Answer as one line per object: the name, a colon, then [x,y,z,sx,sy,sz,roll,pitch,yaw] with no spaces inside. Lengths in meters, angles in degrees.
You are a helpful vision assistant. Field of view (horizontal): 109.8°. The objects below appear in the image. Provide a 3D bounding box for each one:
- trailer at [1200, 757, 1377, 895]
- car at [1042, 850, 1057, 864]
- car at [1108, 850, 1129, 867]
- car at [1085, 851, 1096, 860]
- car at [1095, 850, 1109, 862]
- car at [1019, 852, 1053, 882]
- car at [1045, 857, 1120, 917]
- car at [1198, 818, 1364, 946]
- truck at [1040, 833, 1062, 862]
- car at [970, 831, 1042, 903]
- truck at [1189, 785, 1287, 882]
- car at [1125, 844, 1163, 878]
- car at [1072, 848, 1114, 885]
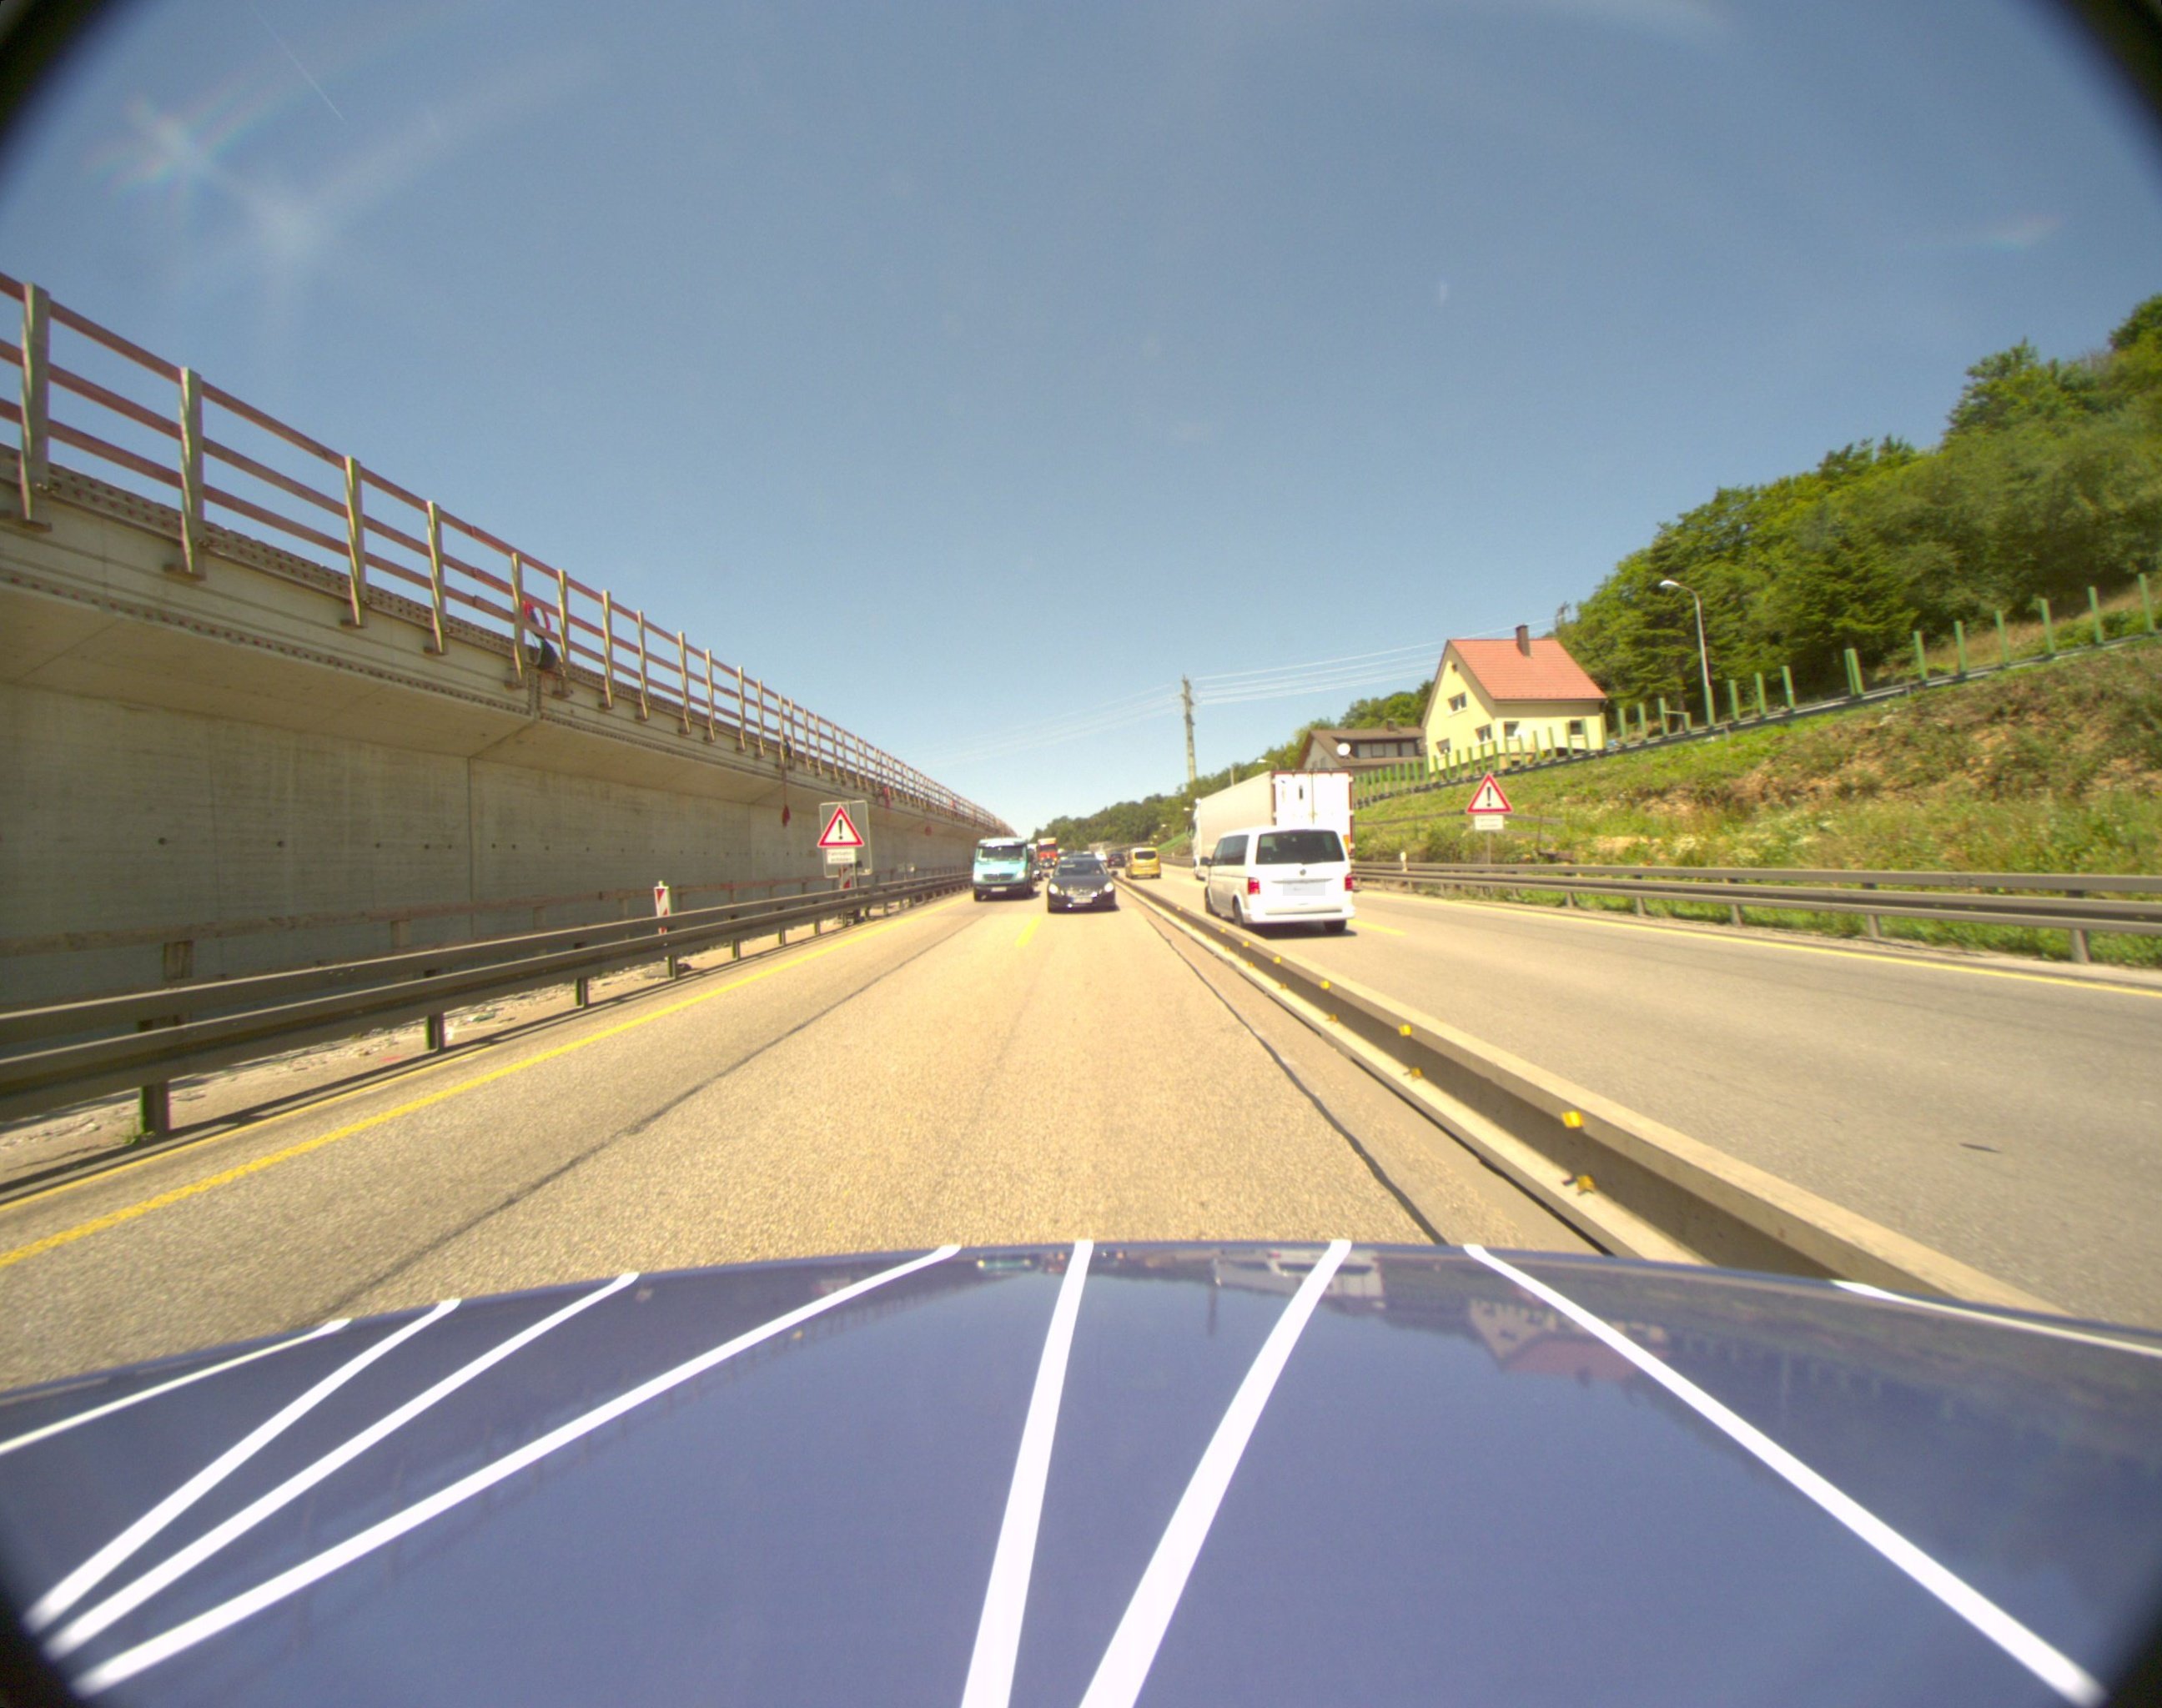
trailer: [7.459,-0.882,30.166,3.228,4.134,13.406,-2,0,0]
car: [-3.883,0.360,93.755,1.674,1.499,3.647,-6,1,-1]
car: [3.738,0.427,76.746,1.704,1.552,4.102,-2,0,-2]
car: [1.752,0.238,136.325,1.771,1.477,3.864,-2,0,-2]
car: [2.849,0.259,105.648,1.695,1.477,3.749,-2,0,-2]
car: [-2.912,0.841,49.912,1.859,1.650,3.999,-6,1,-1]
car: [-0.061,0.848,21.413,1.793,1.440,4.296,-2,0,-3]
car: [3.625,0.413,14.768,1.867,2.002,4.804,-3,1,0]
truck: [-4.580,-0.974,114.638,2.651,3.978,11.191,-6,1,-3]
car: [-2.801,0.412,30.052,1.968,2.367,7.209,-4,1,0]
truck: [7.452,-0.966,37.118,3.188,4.214,6.483,-3,1,-1]
car: [3.694,0.390,45.334,1.780,1.810,4.433,-3,0,0]
car: [0.583,0.631,40.594,1.860,1.650,3.998,-6,1,-2]
